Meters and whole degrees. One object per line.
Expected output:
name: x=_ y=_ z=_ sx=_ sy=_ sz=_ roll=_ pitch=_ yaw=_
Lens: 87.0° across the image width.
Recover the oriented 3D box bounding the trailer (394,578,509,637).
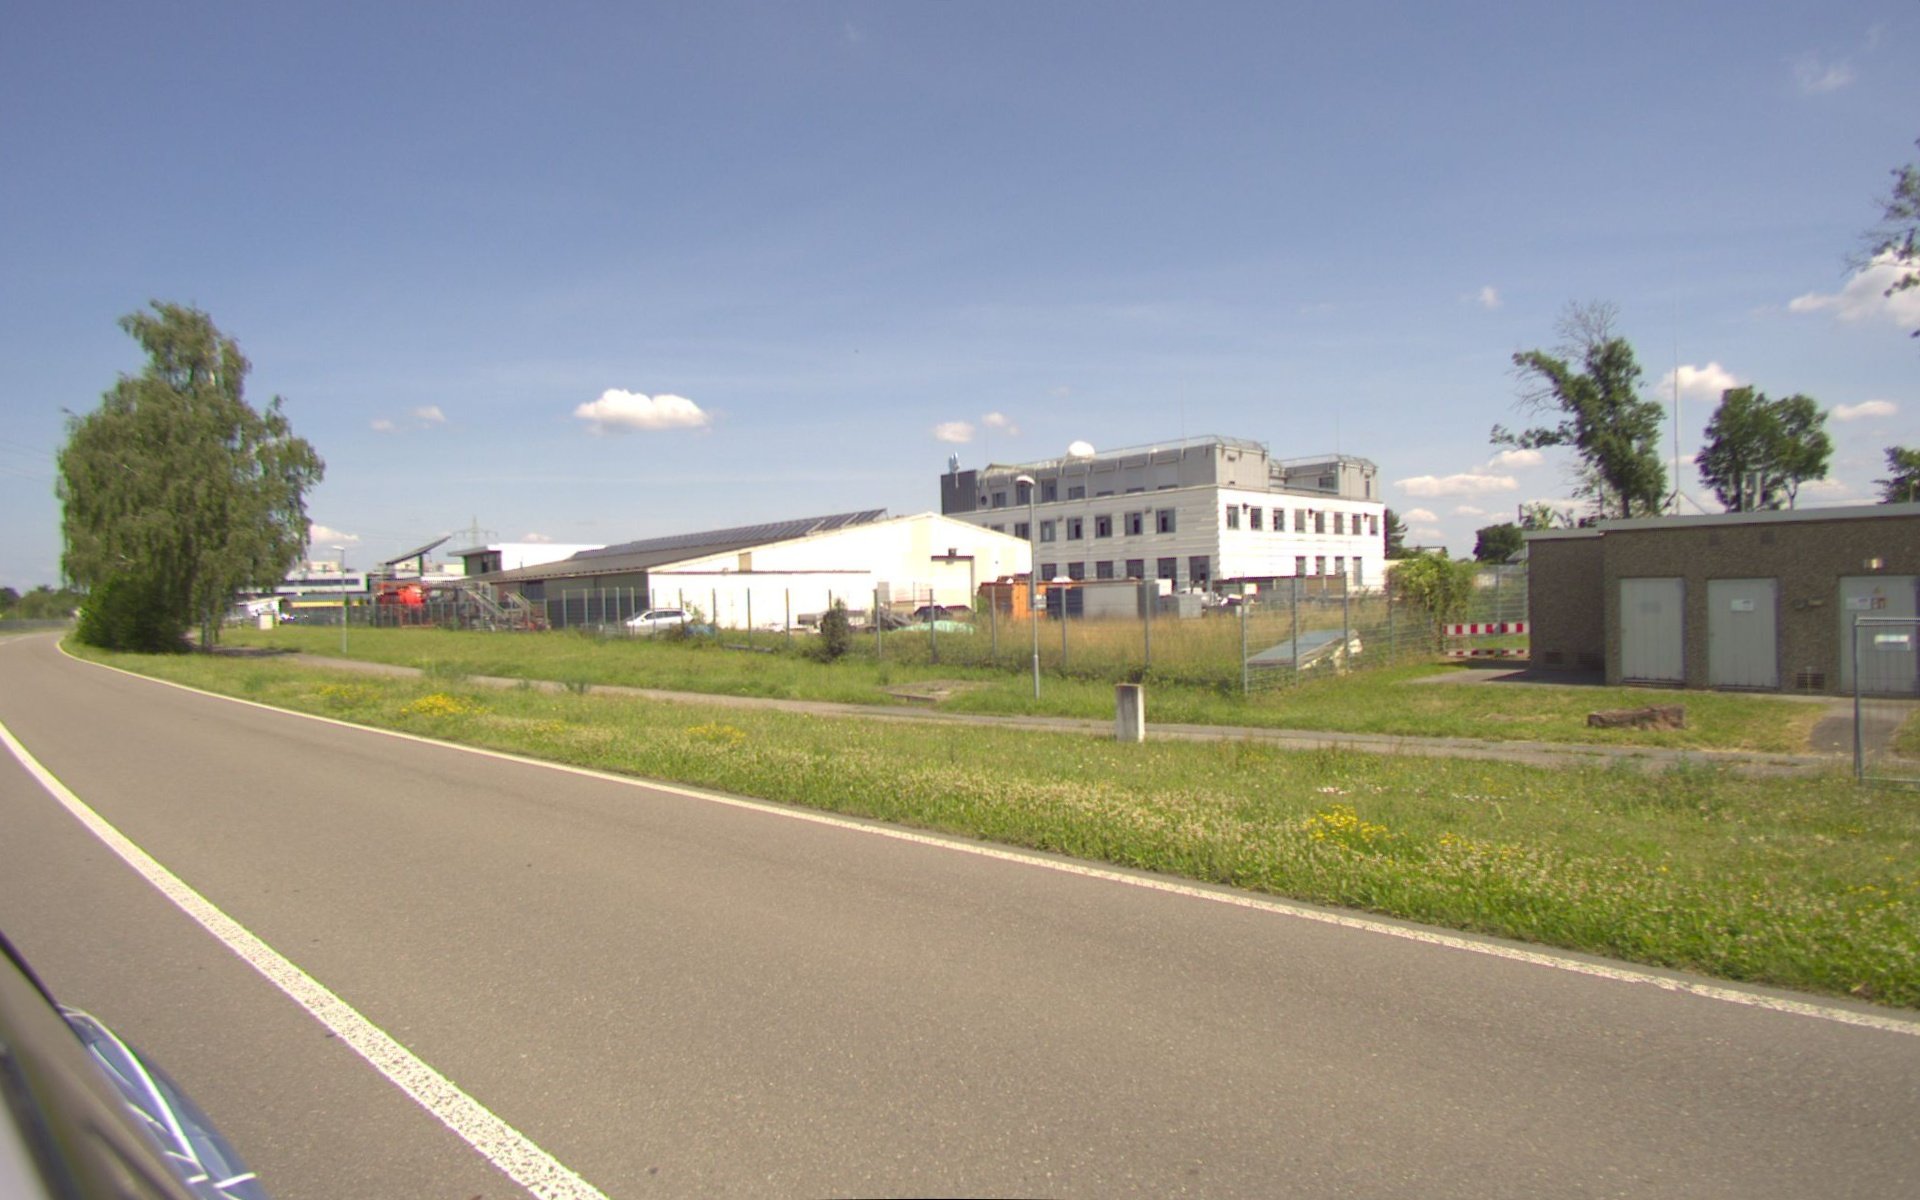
trailer: x=-35.249 y=0.527 z=69.663 sx=3.250 sy=3.672 sz=14.943 roll=0 pitch=-1 yaw=-42

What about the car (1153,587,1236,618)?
car: x=16.209 y=0.218 z=70.267 sx=1.722 sy=2.026 sz=5.531 roll=-2 pitch=0 yaw=-45

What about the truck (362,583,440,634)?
truck: x=-43.805 y=0.684 z=79.127 sx=3.064 sy=3.672 sz=10.607 roll=0 pitch=-1 yaw=-42

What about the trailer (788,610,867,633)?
trailer: x=-7.294 y=1.172 z=55.774 sx=3.939 sy=1.175 sz=1.906 roll=-1 pitch=-1 yaw=-43

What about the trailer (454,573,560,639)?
trailer: x=-27.364 y=0.382 z=60.902 sx=3.358 sy=3.672 sz=8.669 roll=0 pitch=-1 yaw=-42

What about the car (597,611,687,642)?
car: x=-16.024 y=1.320 z=51.107 sx=3.939 sy=1.353 sz=1.749 roll=-2 pitch=0 yaw=-42

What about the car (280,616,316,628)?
car: x=-95.769 y=3.138 z=146.375 sx=4.161 sy=1.656 sz=1.872 roll=0 pitch=-1 yaw=-44

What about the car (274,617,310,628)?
car: x=-99.249 y=3.312 z=150.398 sx=4.161 sy=1.613 sz=1.872 roll=0 pitch=-1 yaw=-44
